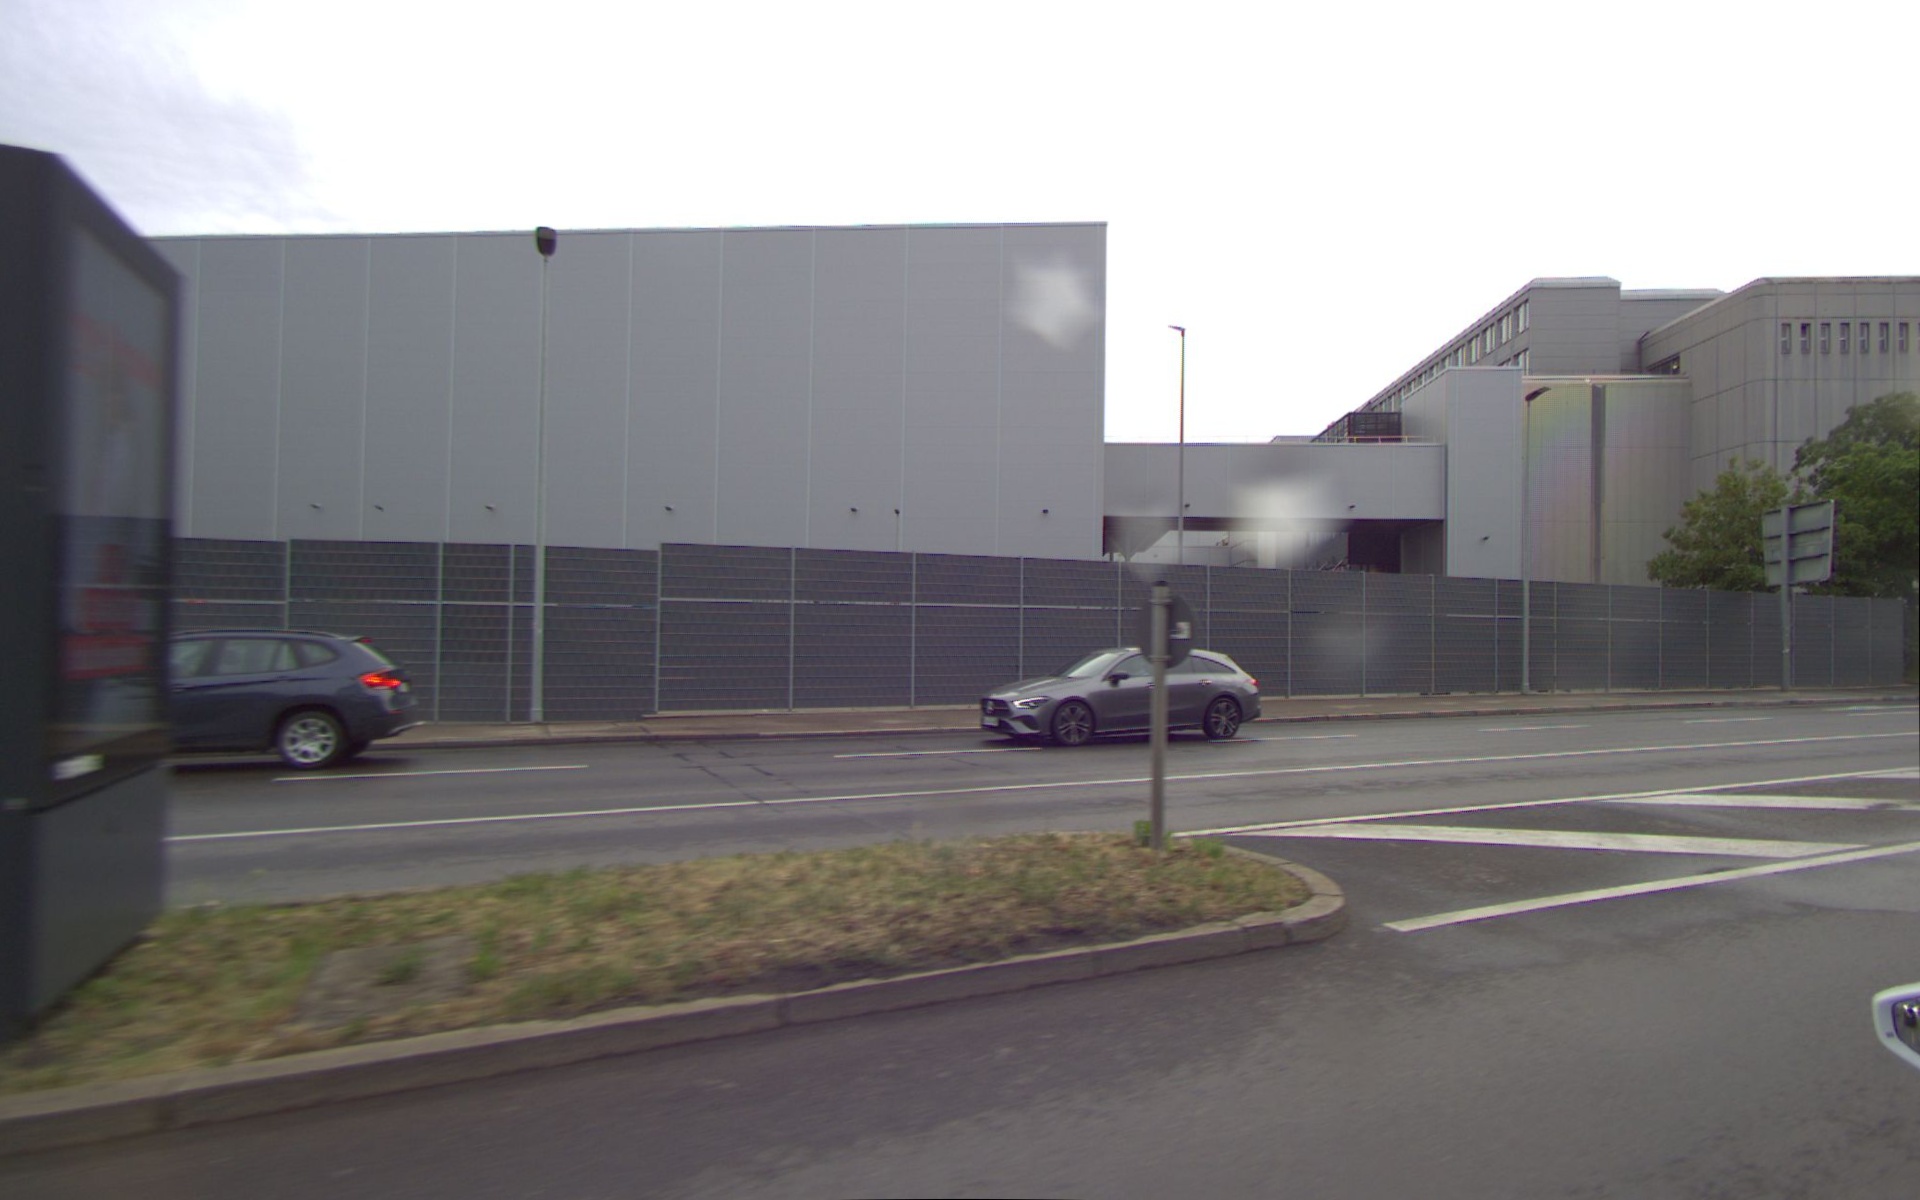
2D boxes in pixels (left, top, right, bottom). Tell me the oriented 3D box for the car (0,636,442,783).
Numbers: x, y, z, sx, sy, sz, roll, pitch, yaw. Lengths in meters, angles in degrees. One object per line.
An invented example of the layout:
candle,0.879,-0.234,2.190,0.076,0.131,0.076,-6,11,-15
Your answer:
car,-8.562,1.165,11.433,4.491,1.473,1.781,1,-3,-20

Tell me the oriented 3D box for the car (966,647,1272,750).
car,2.480,1.456,15.572,4.485,1.403,1.778,1,-4,-25
